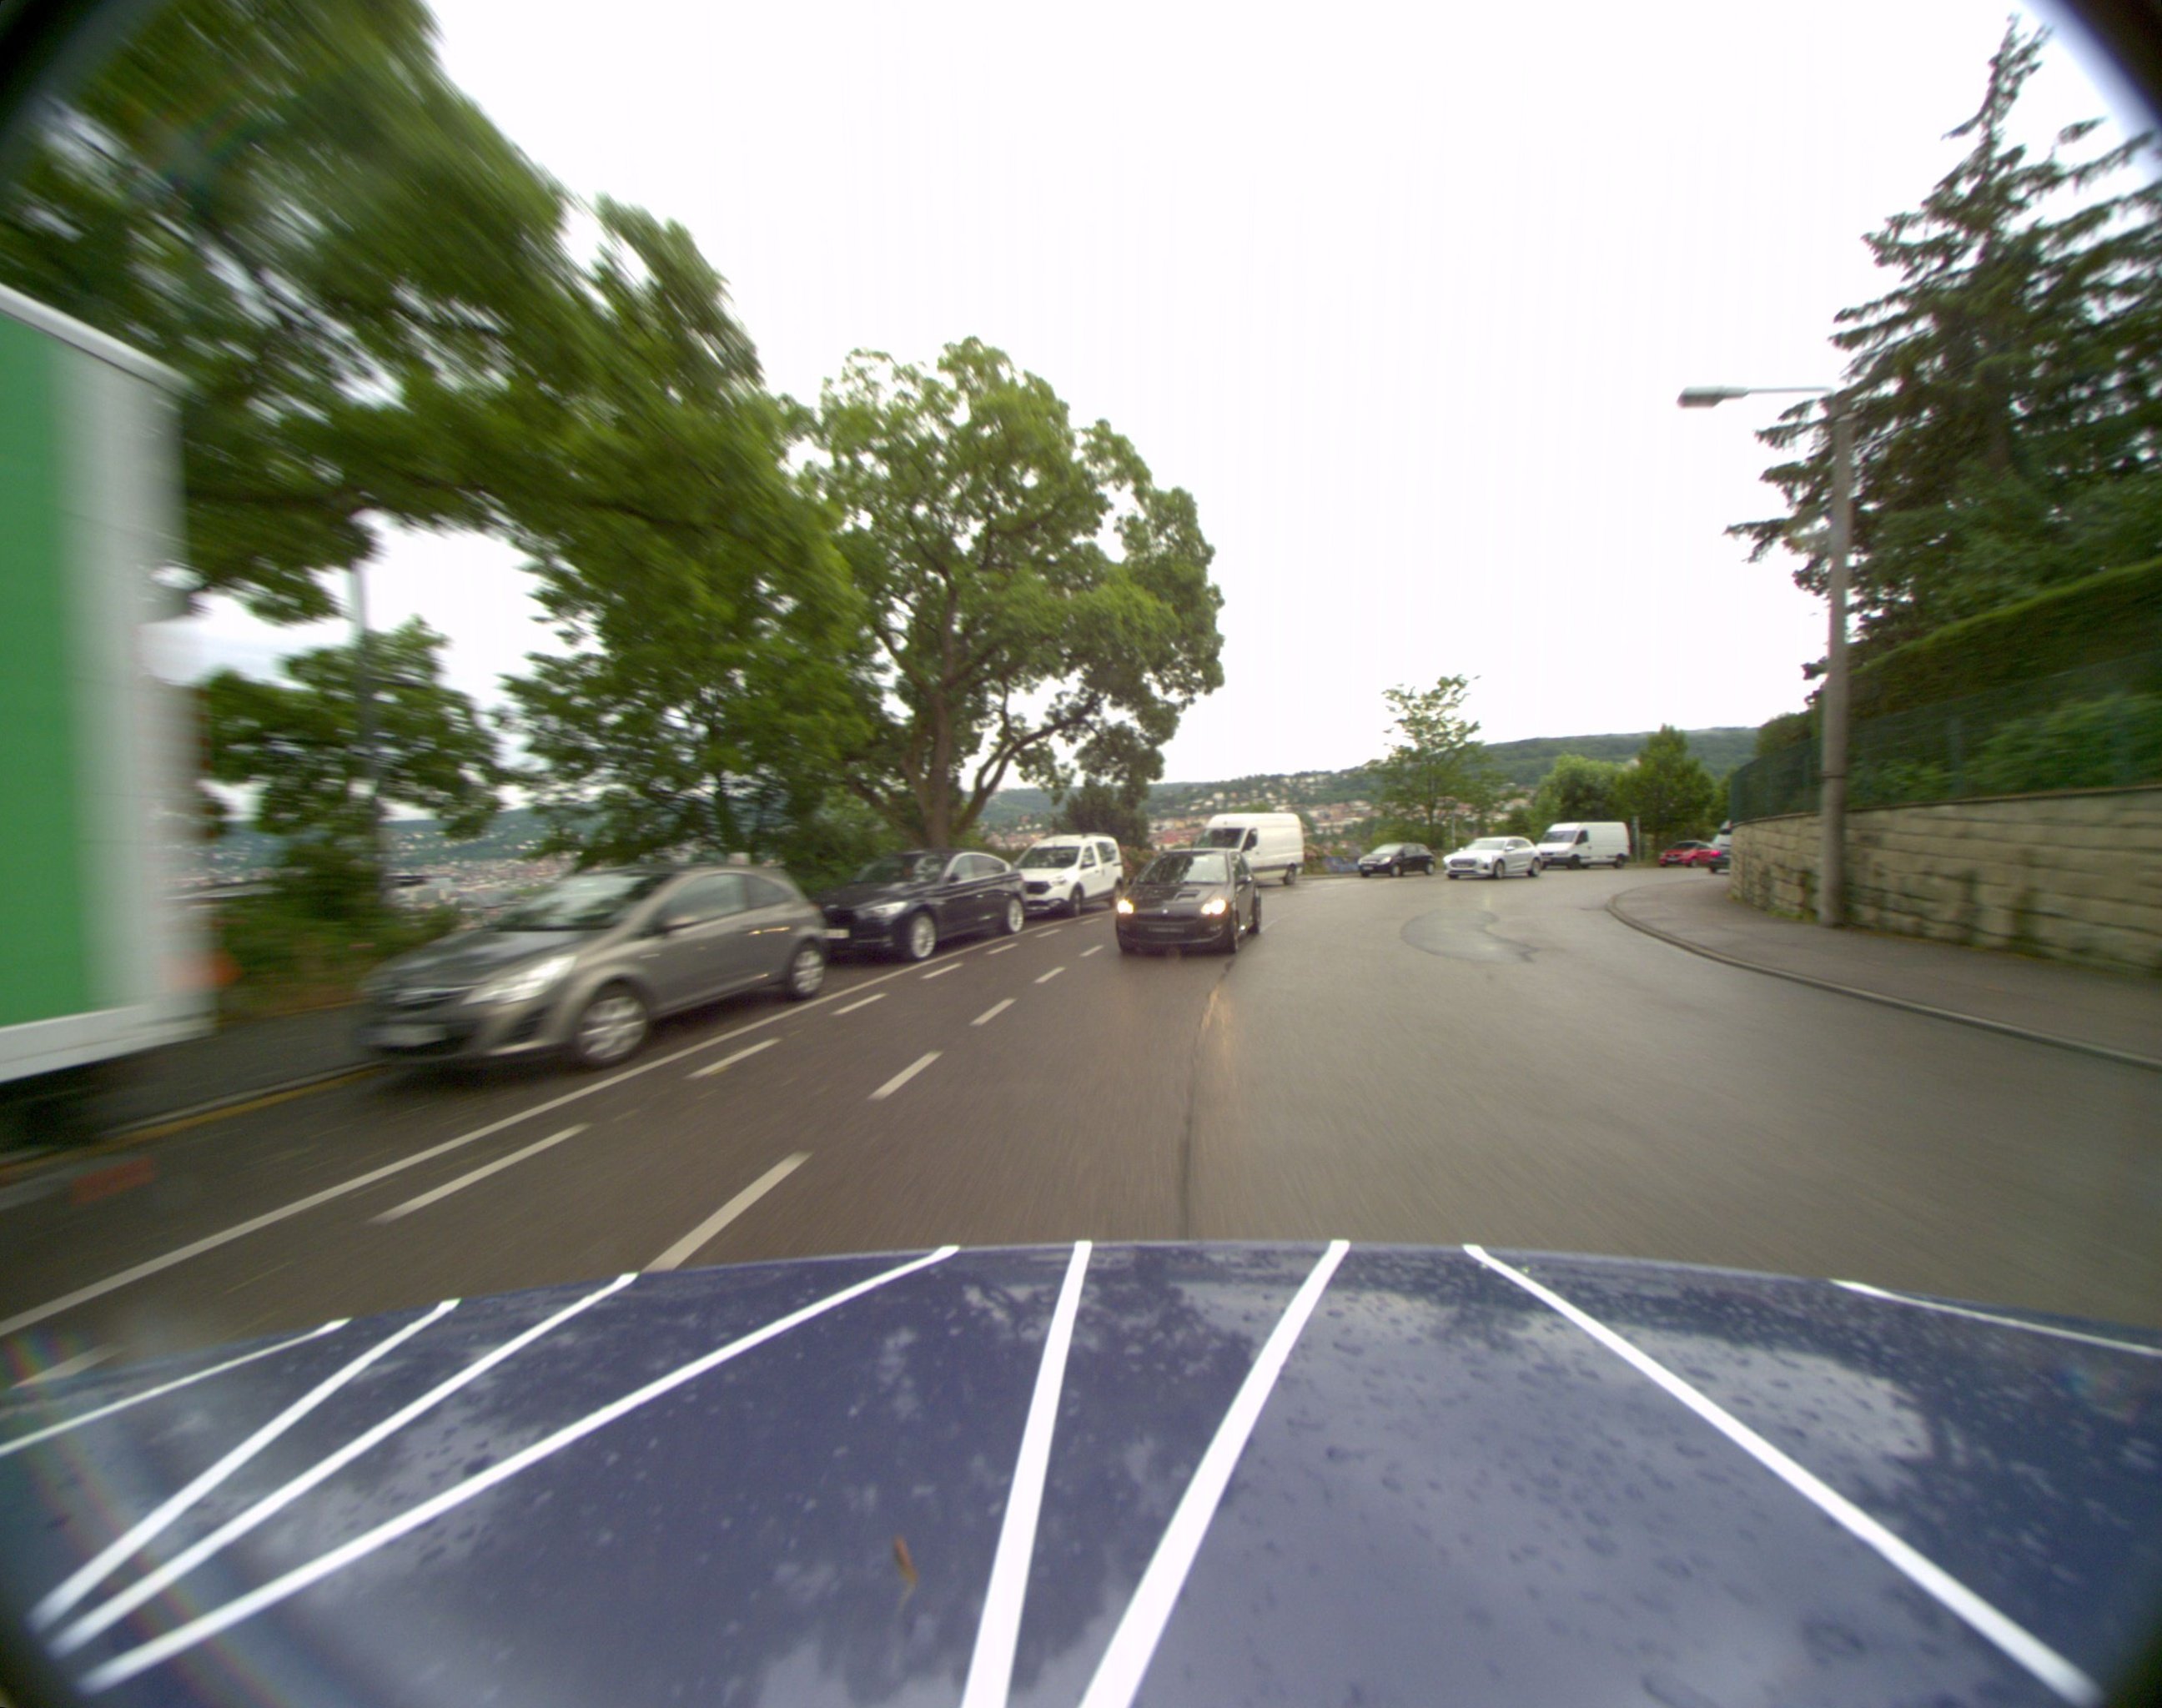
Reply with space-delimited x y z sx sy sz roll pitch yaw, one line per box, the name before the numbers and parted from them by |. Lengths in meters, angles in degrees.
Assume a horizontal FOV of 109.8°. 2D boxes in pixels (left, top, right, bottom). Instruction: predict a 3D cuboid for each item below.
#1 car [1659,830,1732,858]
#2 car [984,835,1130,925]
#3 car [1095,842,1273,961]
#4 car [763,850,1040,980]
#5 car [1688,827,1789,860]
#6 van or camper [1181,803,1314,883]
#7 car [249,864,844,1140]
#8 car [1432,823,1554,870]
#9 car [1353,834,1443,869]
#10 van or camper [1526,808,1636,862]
car | 35.250 -0.590 43.571 3.838 1.531 1.684 -1 1 -24
car | -0.391 0.478 17.659 1.748 1.811 4.429 -1 1 21
car | 1.834 0.599 12.037 1.781 1.477 4.411 -1 1 21
car | -2.513 0.784 12.190 1.862 1.534 4.901 -1 1 20
car | 29.936 -0.524 34.607 4.119 1.426 1.789 -1 2 -23
van or camper | 6.108 -0.426 27.242 2.067 2.566 5.899 2 2 41
car | -4.018 0.926 6.732 1.736 1.495 4.139 -1 1 13
car | 16.386 -0.328 30.152 4.890 1.698 2.187 -2 1 -33
car | 14.036 -0.134 33.599 3.954 1.435 1.697 -1 0 -33
van or camper | 25.958 -0.974 39.436 5.602 2.646 2.076 -1 1 -24
